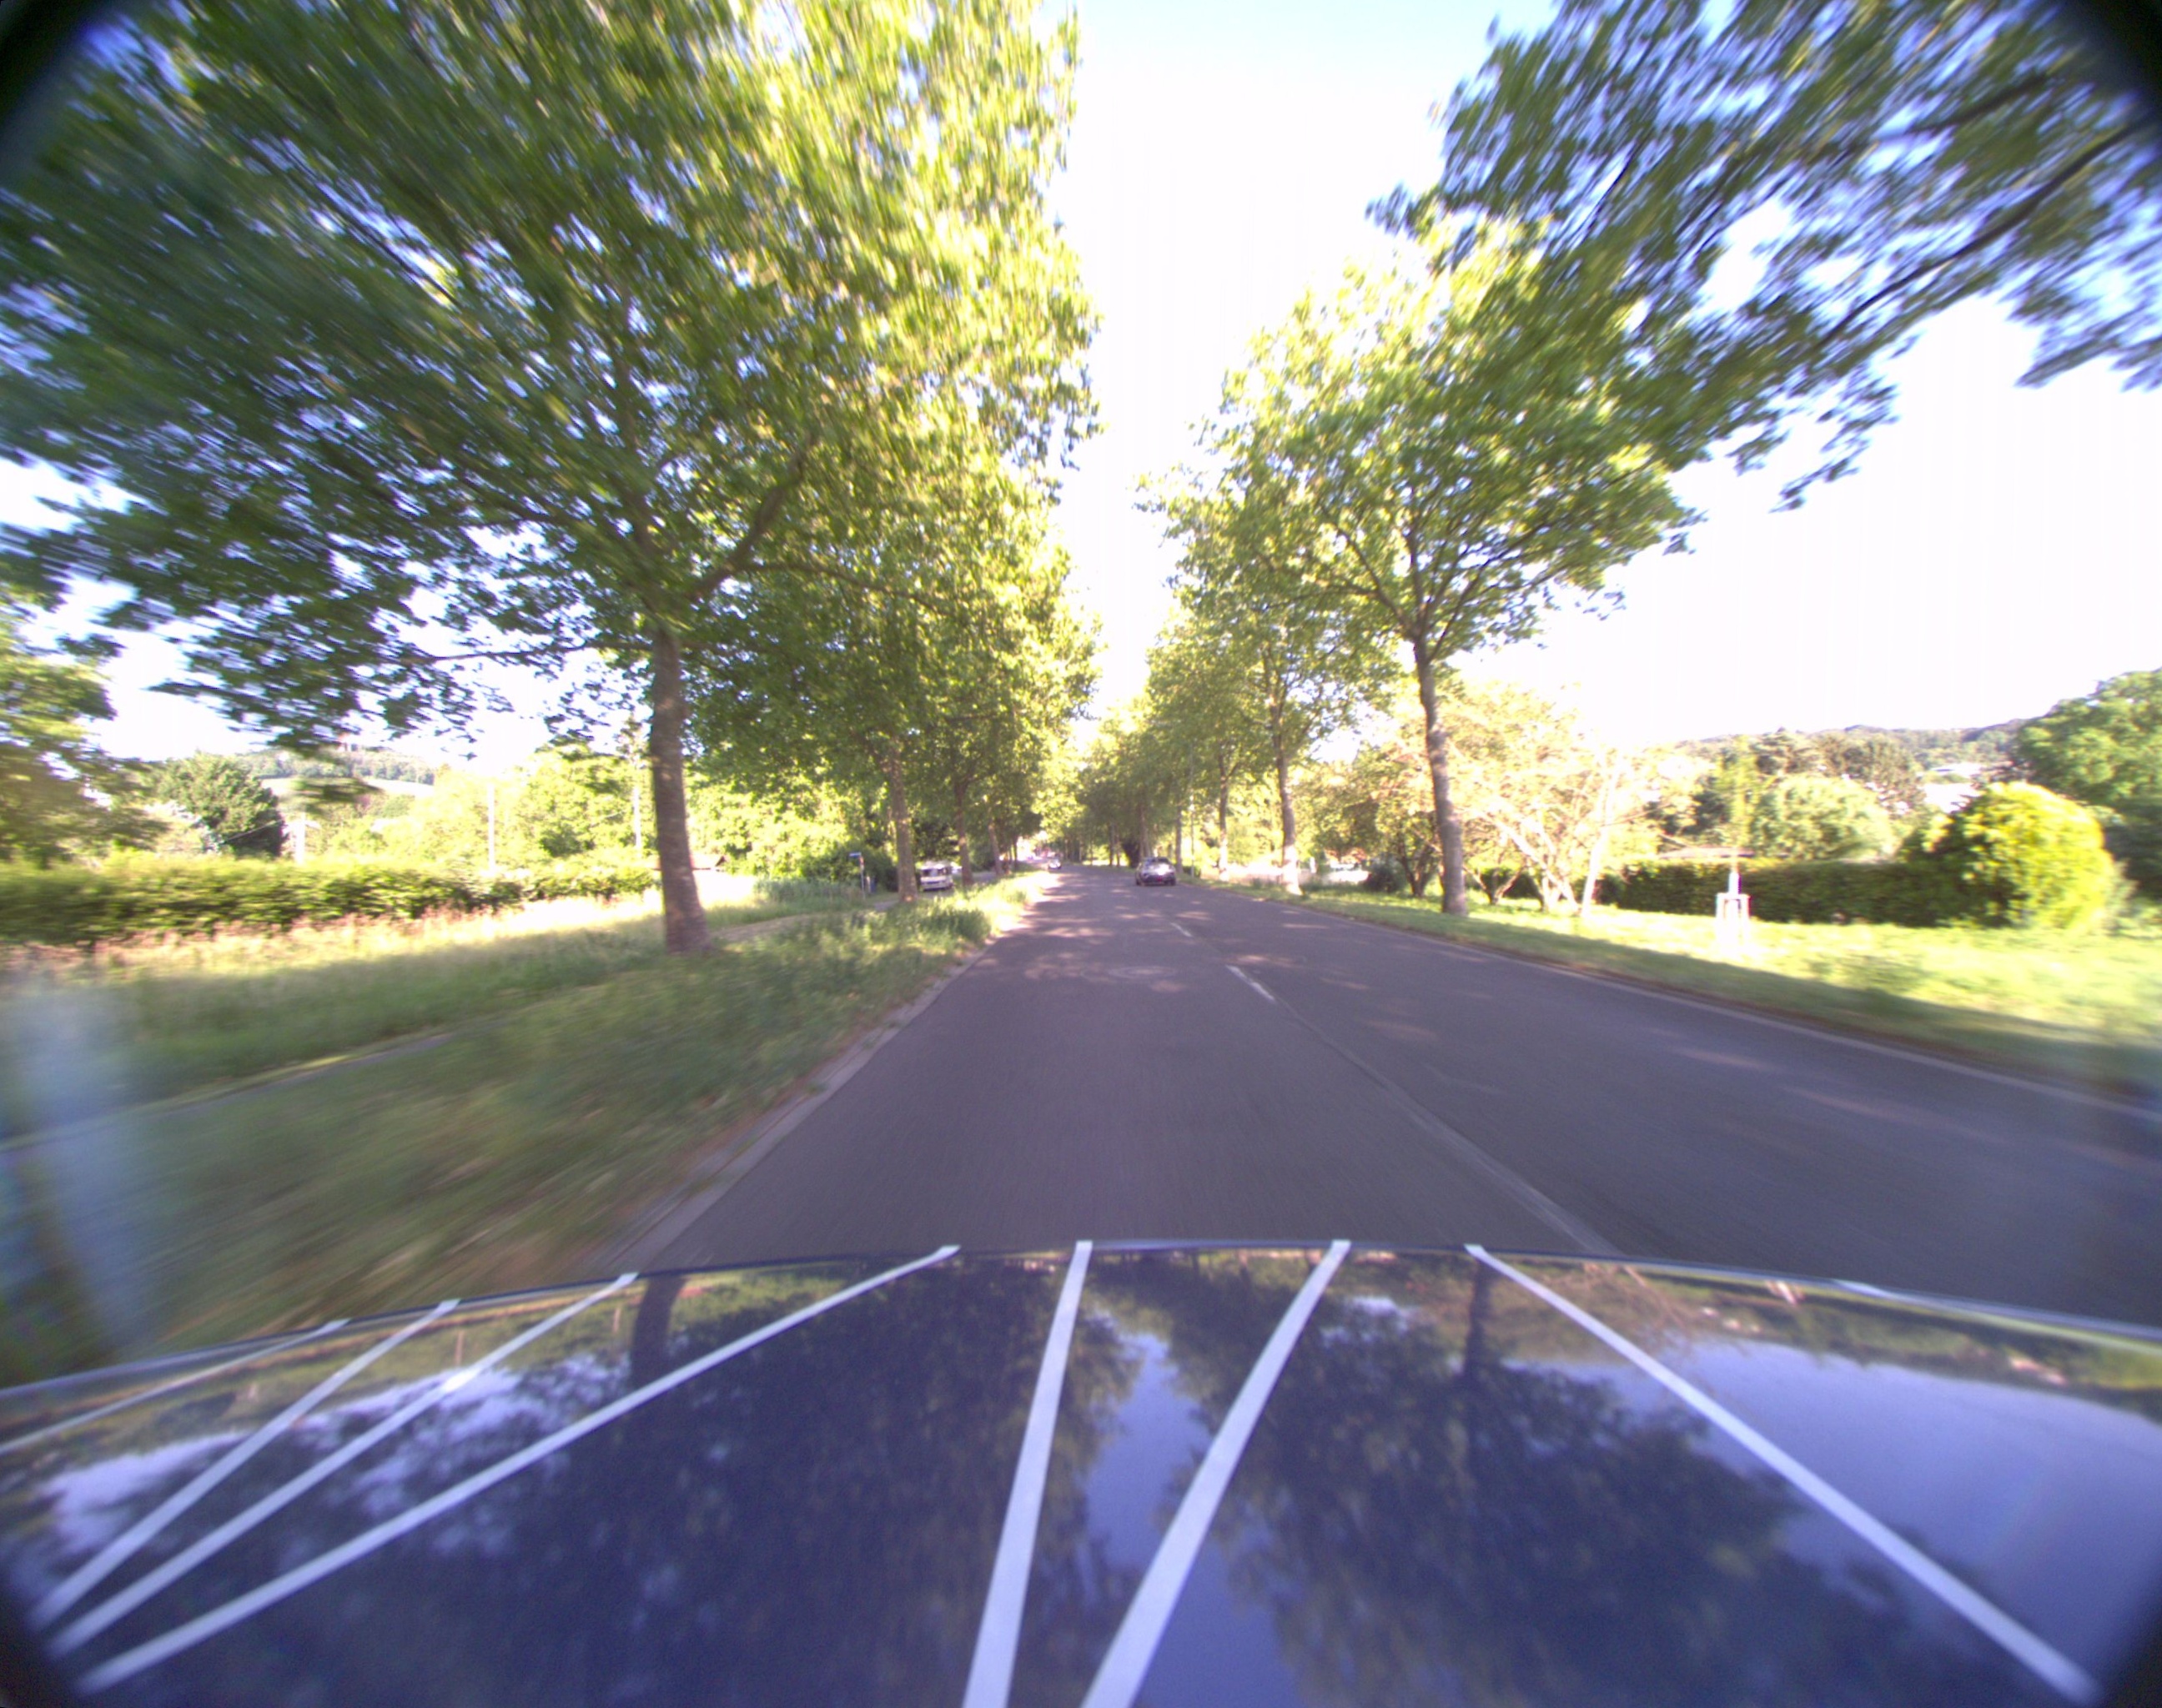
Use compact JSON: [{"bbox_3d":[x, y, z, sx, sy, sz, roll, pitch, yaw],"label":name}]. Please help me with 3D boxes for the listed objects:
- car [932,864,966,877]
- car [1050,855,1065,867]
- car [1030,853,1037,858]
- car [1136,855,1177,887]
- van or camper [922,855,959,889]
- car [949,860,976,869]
[{"bbox_3d":[-19.796,2.452,114.132,4.511,1.660,2.000,-2,1,4],"label":"car"},{"bbox_3d":[-3.456,1.038,111.852,1.999,1.655,3.999,-2,0,-2],"label":"car"},{"bbox_3d":[-13.749,0.344,221.177,1.869,1.421,3.999,-1,0,-1],"label":"car"},{"bbox_3d":[3.945,0.874,40.047,1.720,1.496,3.999,-2,1,0],"label":"car"},{"bbox_3d":[-12.674,1.589,68.748,2.387,2.783,5.683,-2,1,-2],"label":"van or camper"},{"bbox_3d":[-19.683,1.717,126.247,3.996,1.378,2.000,-2,1,4],"label":"car"}]
